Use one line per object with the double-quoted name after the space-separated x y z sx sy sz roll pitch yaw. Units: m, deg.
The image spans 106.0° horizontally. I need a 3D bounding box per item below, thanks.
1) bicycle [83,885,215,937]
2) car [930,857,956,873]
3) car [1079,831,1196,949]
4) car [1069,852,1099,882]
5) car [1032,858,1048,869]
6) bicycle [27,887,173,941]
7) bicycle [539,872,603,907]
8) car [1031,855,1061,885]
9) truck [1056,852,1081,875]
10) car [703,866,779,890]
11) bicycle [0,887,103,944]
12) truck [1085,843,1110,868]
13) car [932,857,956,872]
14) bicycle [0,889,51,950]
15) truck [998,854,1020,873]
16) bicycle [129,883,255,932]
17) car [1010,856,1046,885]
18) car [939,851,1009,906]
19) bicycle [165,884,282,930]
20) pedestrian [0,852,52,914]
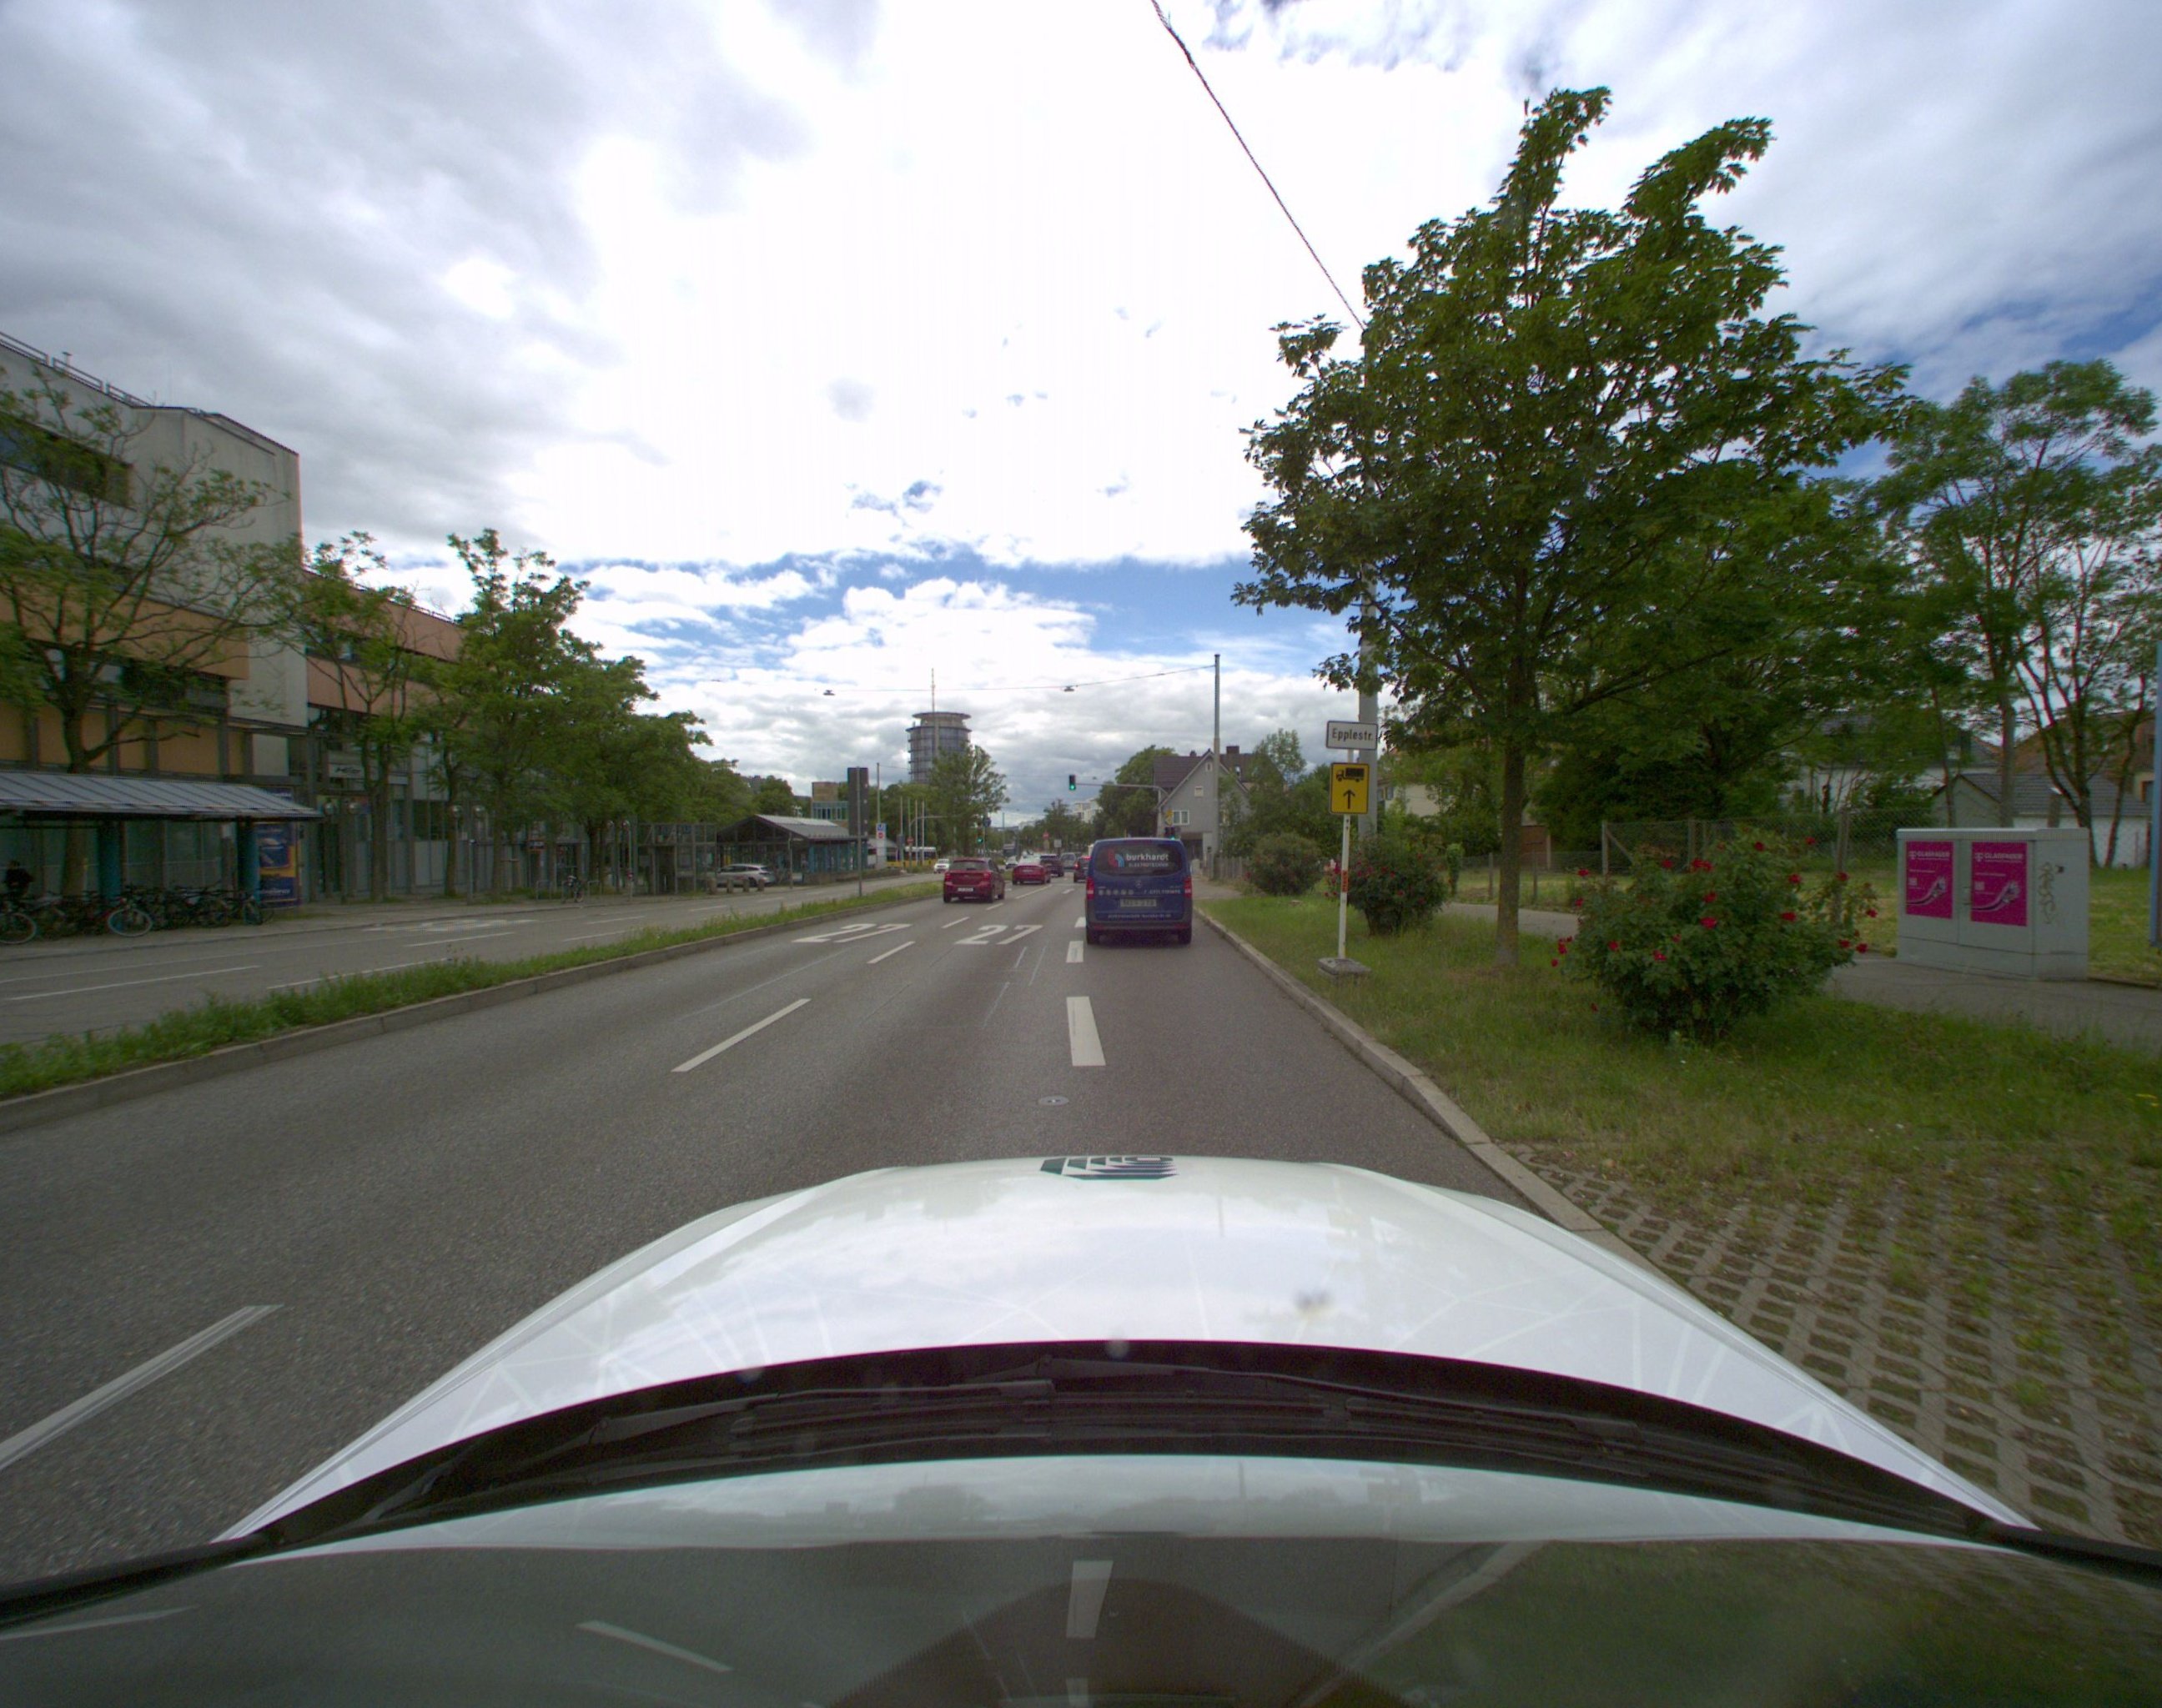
-22.533 1.360 19.730 2.067 1.153 0.708 -1 0 -13 "bicycle"
-14.951 1.148 88.464 1.740 1.517 4.003 -7 0 3 "car"
1.077 0.612 15.784 1.939 1.965 4.545 0 0 3 "car"
0.193 0.765 49.588 1.741 1.723 3.999 -1 0 0 "car"
-7.568 1.796 151.595 1.981 2.014 4.191 -2 0 10 "car"
-22.073 1.328 18.371 2.067 1.153 0.708 0 -1 -13 "bicycle"
-20.520 1.408 32.835 1.049 1.271 2.423 1 0 -1 "bicycle"
-2.554 1.119 58.688 1.991 2.013 3.992 0 1 -6 "car"
-1.191 0.919 80.330 1.985 2.166 5.564 1 0 3 "truck"
-21.073 1.442 50.610 3.986 1.354 1.994 -1 0 -9 "car"
-22.473 1.304 17.340 2.067 1.153 0.708 1 -1 -13 "bicycle"
1.521 0.109 73.994 1.985 2.166 5.564 1 0 3 "truck"
-14.842 1.124 88.478 1.617 1.574 4.004 -1 0 4 "car"
-22.217 1.289 16.215 2.067 1.153 0.708 2 -1 -13 "bicycle"
-14.187 1.832 161.441 3.357 3.727 11.279 0 -1 0 "truck"
-22.620 1.367 20.758 2.067 1.153 0.708 3 -1 -13 "bicycle"
-3.019 0.926 45.882 1.866 1.486 3.991 -2 -1 -6 "car"
-3.664 0.800 28.484 1.740 1.723 4.002 2 0 2 "car"
-22.852 1.396 21.740 2.067 1.153 0.708 0 -1 -13 "bicycle"
-28.867 0.778 22.283 0.529 1.643 0.676 -1 -1 3 "pedestrian"
